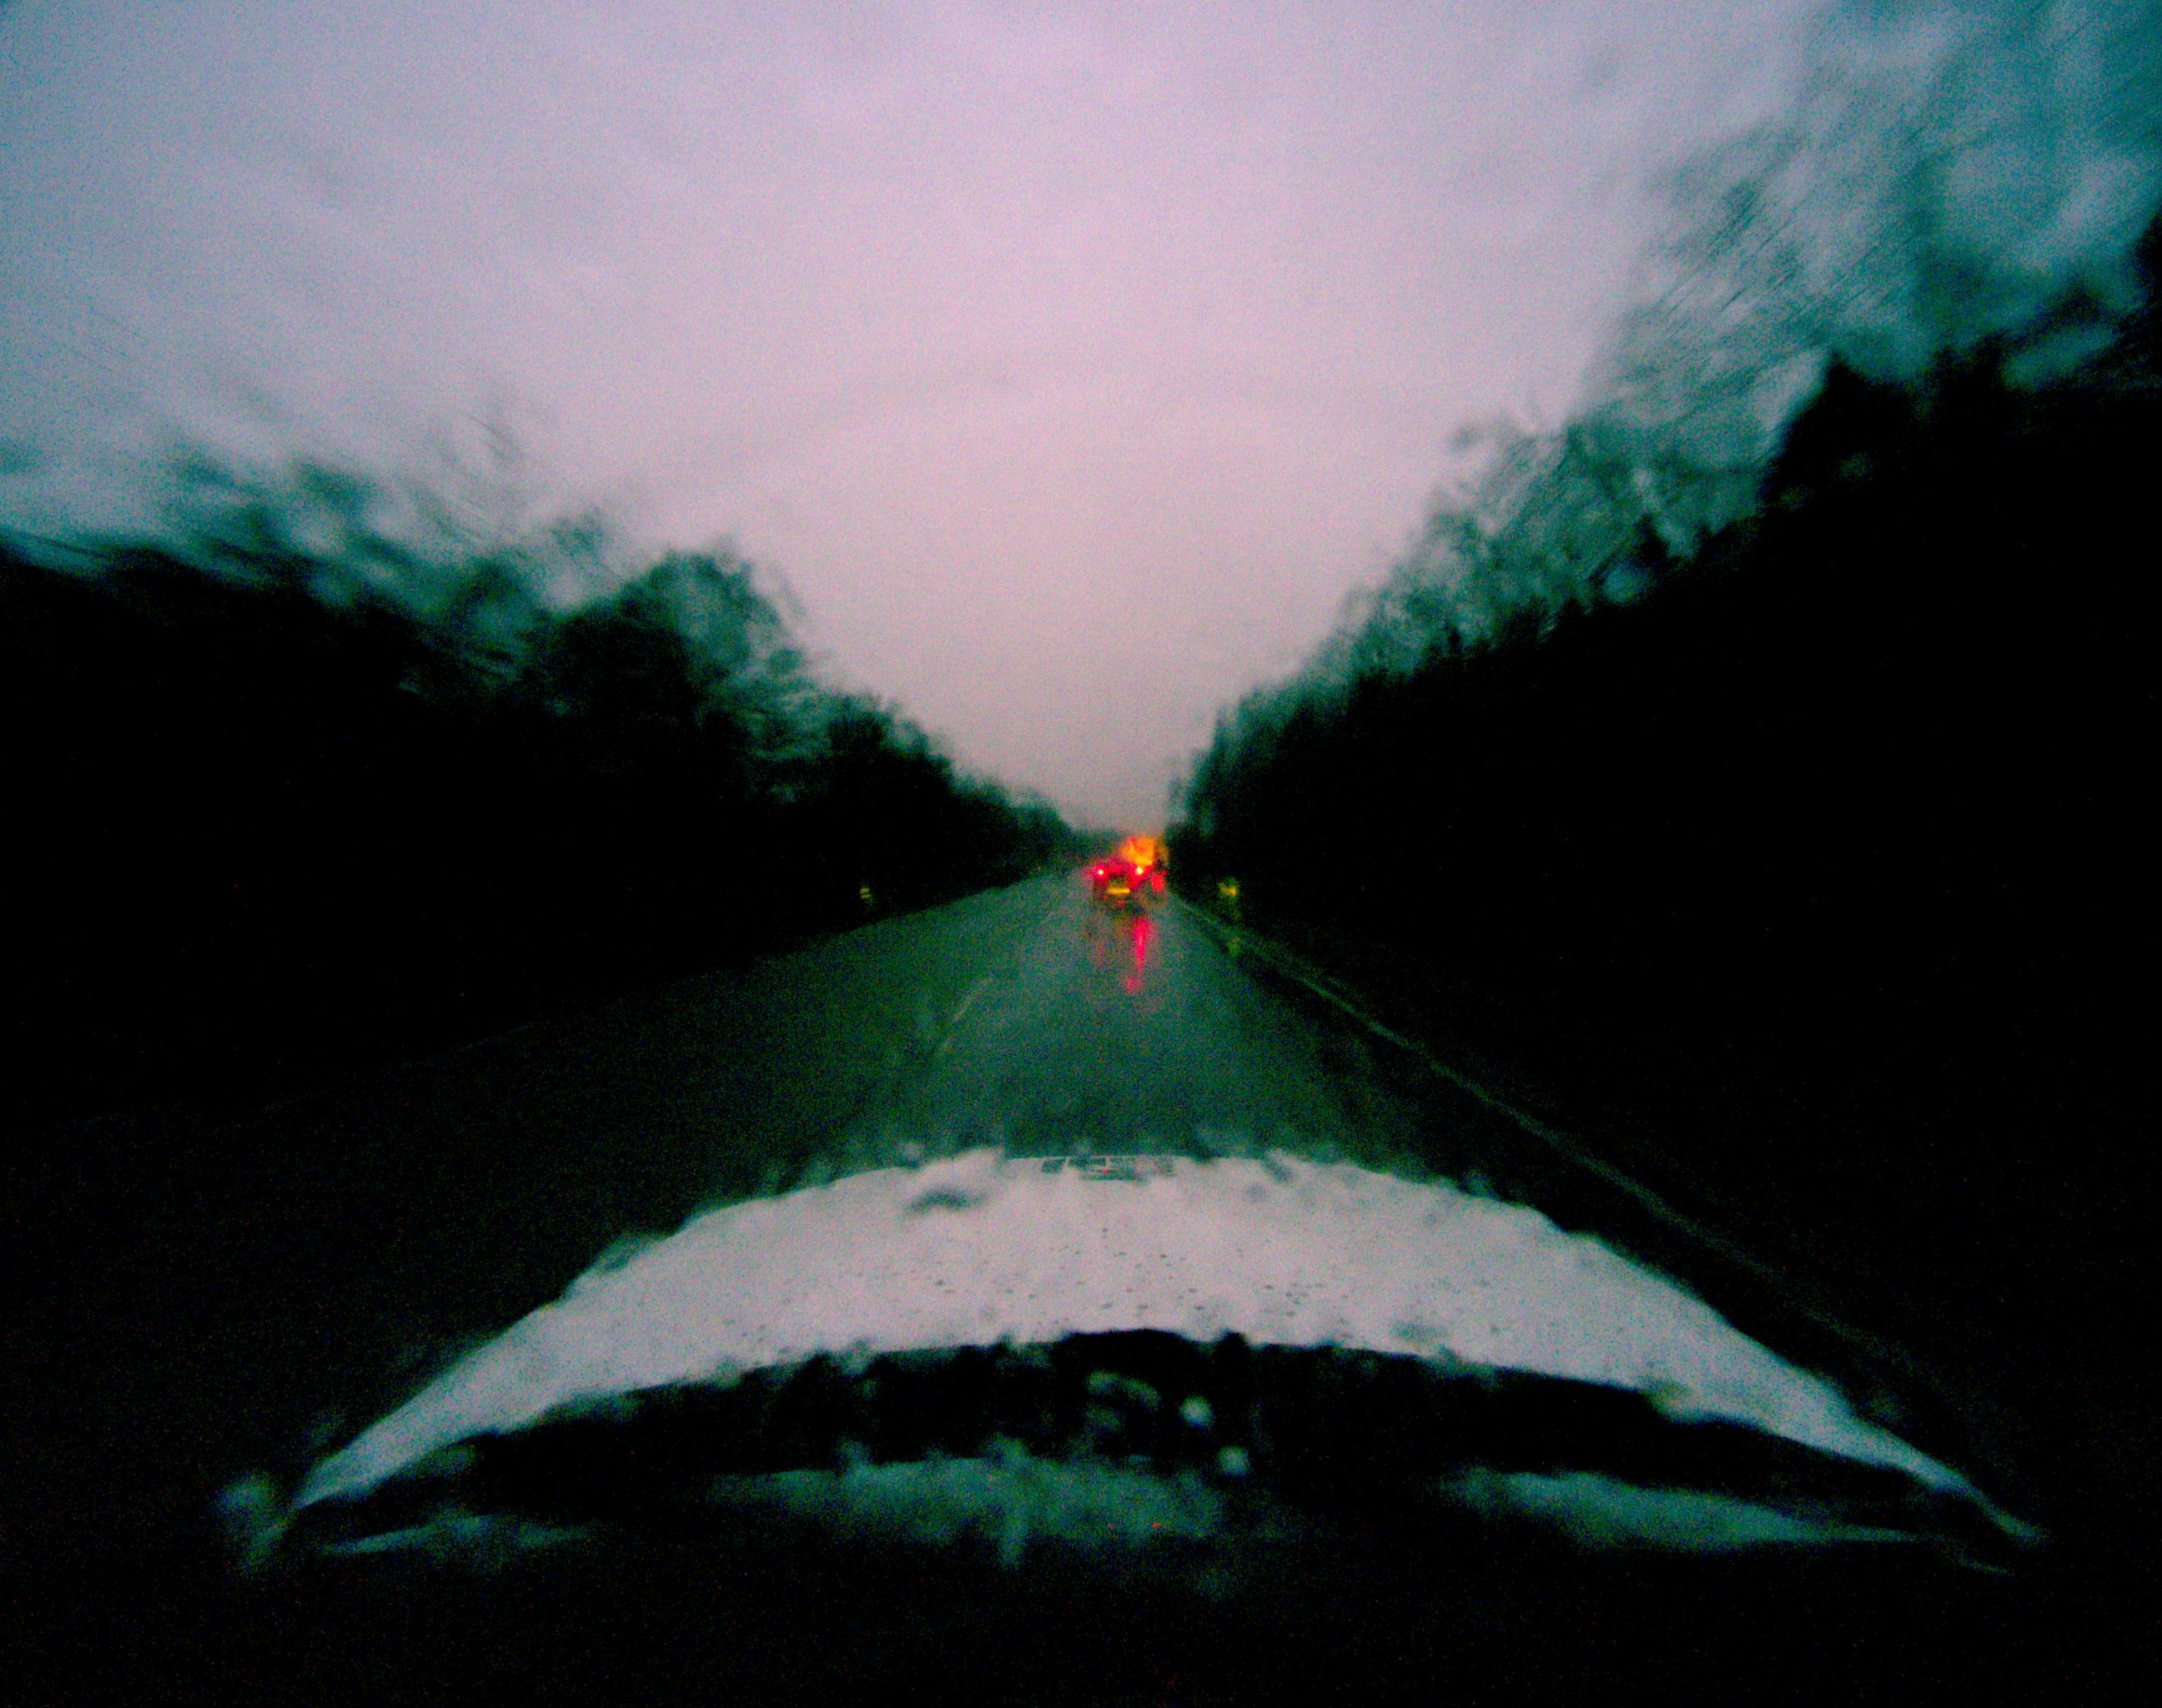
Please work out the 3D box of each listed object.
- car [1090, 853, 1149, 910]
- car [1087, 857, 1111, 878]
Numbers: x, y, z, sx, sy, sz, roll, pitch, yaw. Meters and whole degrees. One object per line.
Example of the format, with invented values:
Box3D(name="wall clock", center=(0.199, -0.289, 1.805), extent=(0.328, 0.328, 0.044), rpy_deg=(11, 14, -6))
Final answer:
Box3D(name="car", center=(1.253, 0.813, 26.066), extent=(1.720, 1.643, 4.003), rpy_deg=(-1, 0, 3))
Box3D(name="car", center=(1.498, 1.088, 66.614), extent=(1.720, 1.643, 4.003), rpy_deg=(-1, 0, 3))
